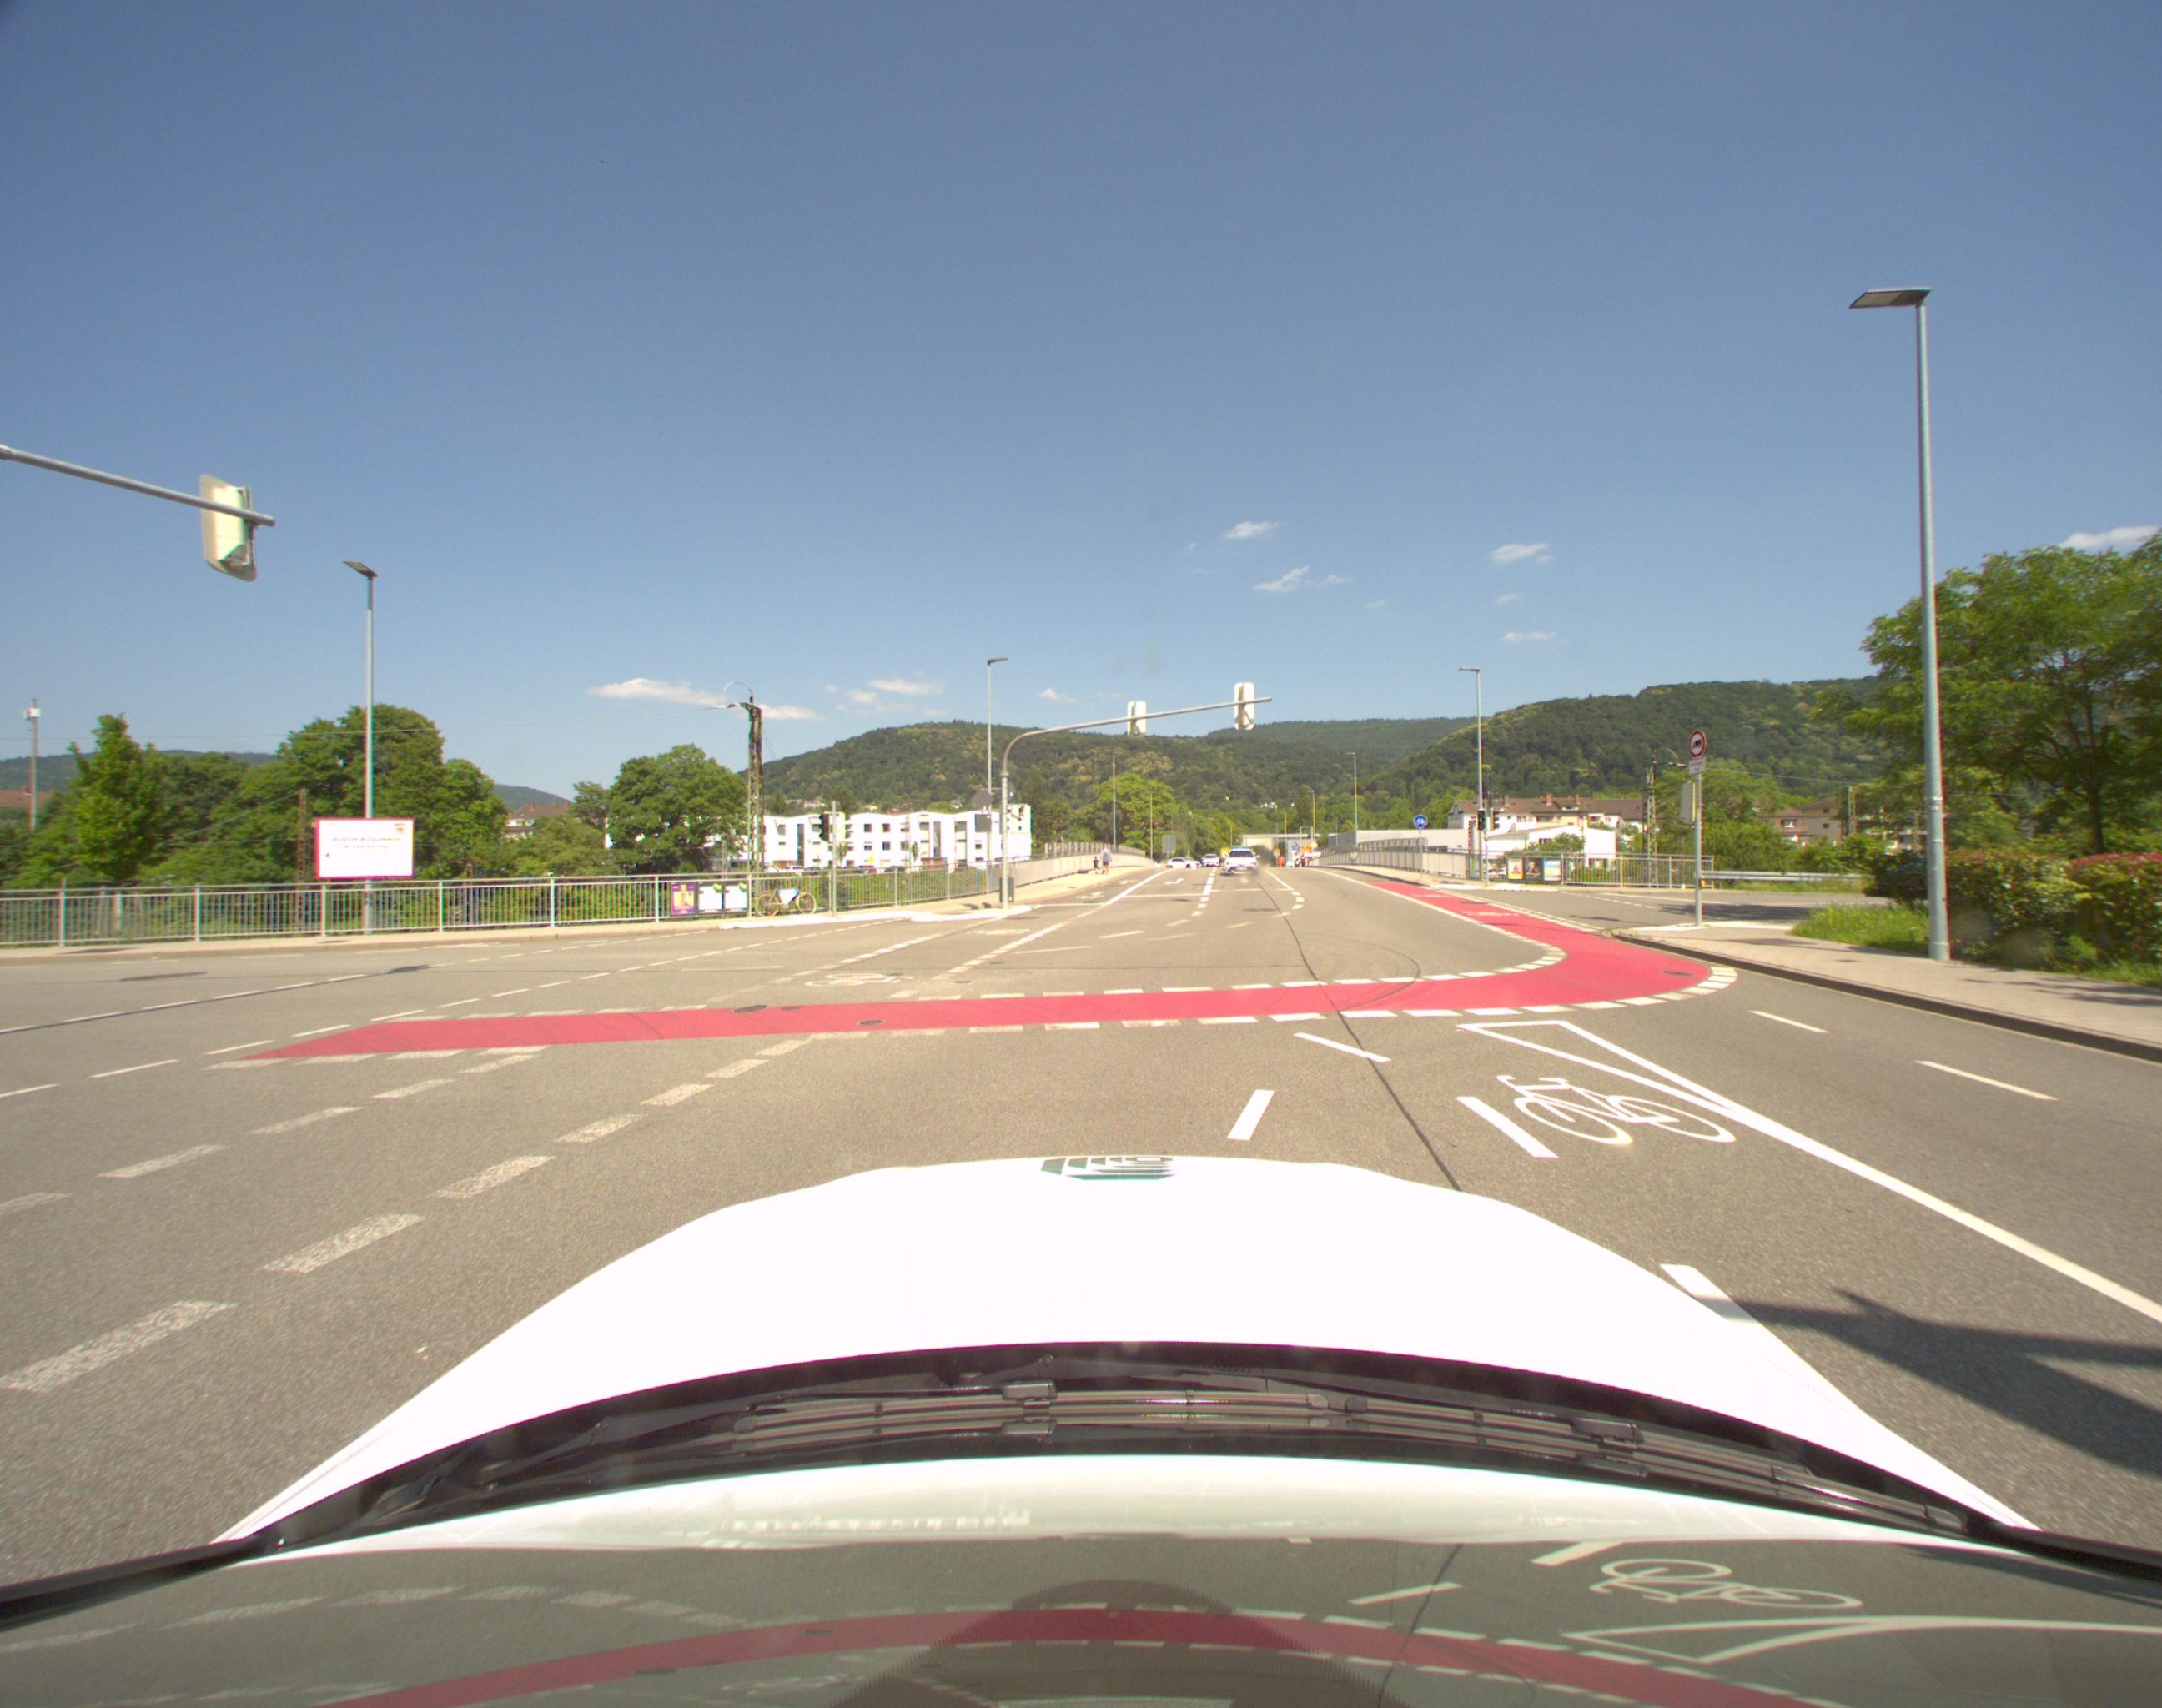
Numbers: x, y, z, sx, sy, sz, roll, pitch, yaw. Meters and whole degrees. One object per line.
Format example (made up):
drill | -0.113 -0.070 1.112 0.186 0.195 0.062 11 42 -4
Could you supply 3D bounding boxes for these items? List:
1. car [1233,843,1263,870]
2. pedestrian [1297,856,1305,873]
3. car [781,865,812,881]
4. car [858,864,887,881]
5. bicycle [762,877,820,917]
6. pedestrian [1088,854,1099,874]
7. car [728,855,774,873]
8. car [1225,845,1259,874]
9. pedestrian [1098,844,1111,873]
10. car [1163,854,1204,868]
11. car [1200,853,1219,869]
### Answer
car | 10.497 0.142 51.456 1.720 1.626 4.455 -1 0 10
pedestrian | 26.682 1.232 98.904 0.850 2.013 1.158 -1 0 9
car | -37.250 2.501 106.670 1.982 2.013 4.480 -1 0 8
car | -26.460 2.378 103.631 1.982 2.013 4.480 -1 0 8
bicycle | -8.684 1.275 24.445 1.629 1.100 0.294 0 0 -42
pedestrian | 0.713 0.581 46.727 0.508 1.121 0.477 -1 0 9
car | -40.813 1.213 100.868 4.975 2.112 1.993 -1 0 -10
car | 8.772 0.298 44.688 1.720 1.469 4.423 -1 0 10
pedestrian | 1.346 0.254 46.837 0.639 1.618 0.923 -1 0 9
car | 12.970 0.840 102.958 2.012 1.719 4.999 0 0 -45
car | 14.516 0.806 92.088 1.982 1.719 4.644 -1 0 8
